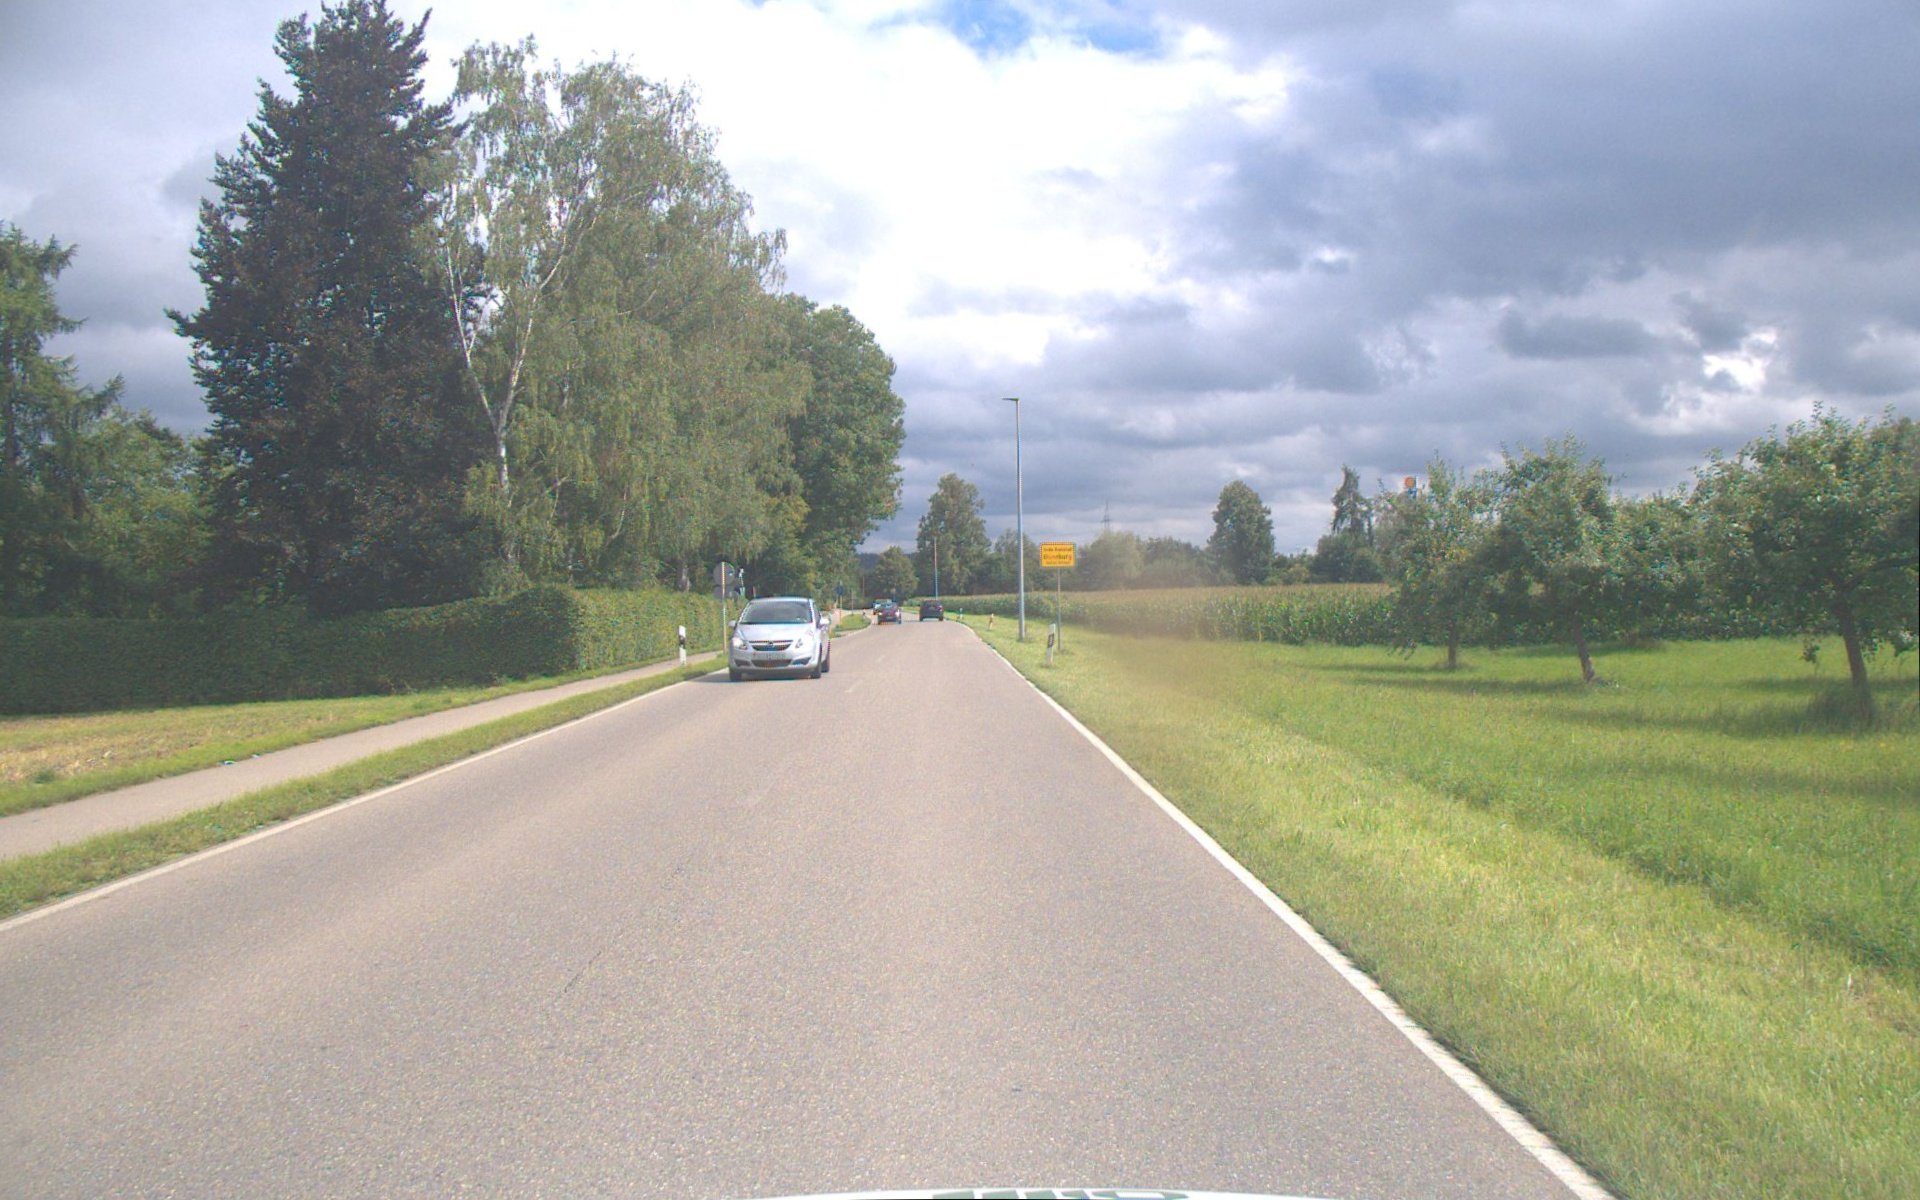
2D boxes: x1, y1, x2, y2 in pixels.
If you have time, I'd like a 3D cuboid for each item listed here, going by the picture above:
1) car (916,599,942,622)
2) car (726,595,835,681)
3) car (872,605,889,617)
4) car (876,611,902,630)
[{"bbox_3d":[-2.431,0.797,129.242,1.868,1.695,3.998,-2,0,-3],"label":"car"},{"bbox_3d":[-3.298,0.672,30.891,1.660,1.484,3.542,-1,0,-1],"label":"car"},{"bbox_3d":[-8.851,1.249,183.269,1.710,1.243,3.542,-2,0,-1],"label":"car"},{"bbox_3d":[-5.019,1.459,117.161,1.710,1.243,3.542,-2,0,-1],"label":"car"}]
